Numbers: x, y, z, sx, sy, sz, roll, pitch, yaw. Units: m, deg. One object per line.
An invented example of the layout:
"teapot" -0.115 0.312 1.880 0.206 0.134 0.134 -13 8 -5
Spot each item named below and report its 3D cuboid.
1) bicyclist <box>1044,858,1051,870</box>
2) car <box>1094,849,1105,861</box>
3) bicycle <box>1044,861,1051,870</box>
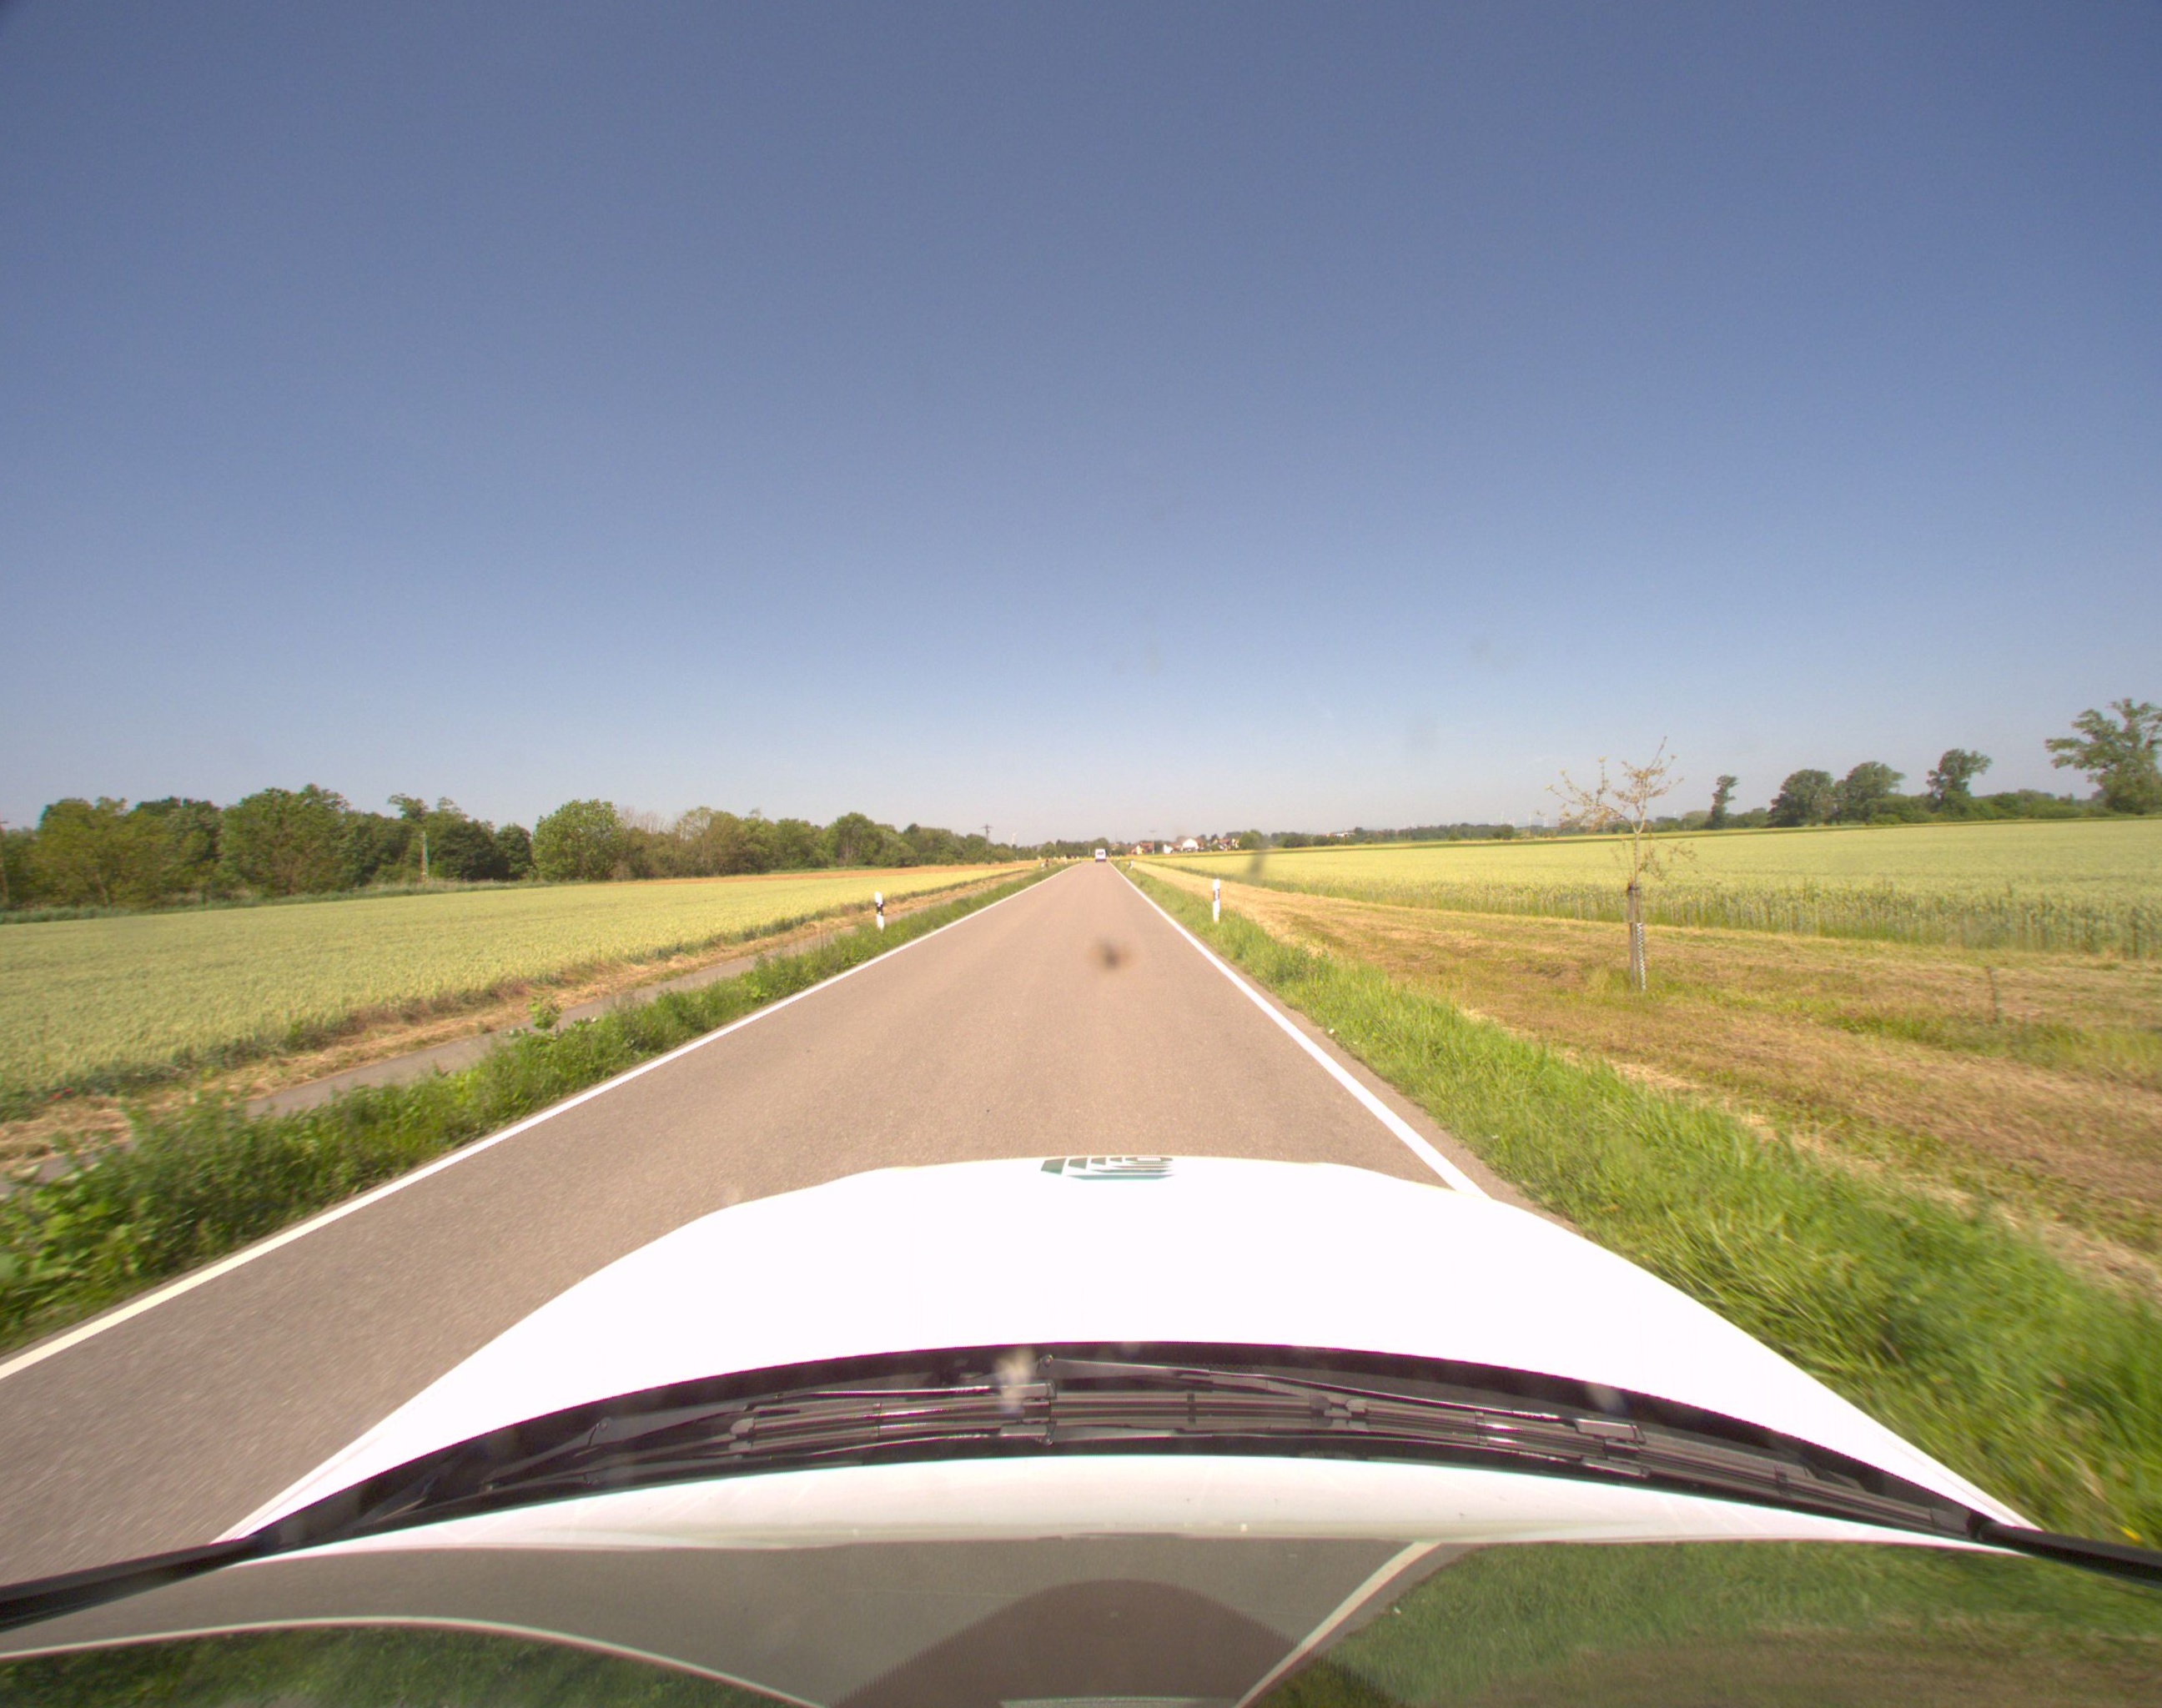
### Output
"bicyclist" -4.751 1.377 114.788 0.757 1.672 1.089 -4 0 1
"car" 3.655 0.201 158.313 2.100 2.304 5.496 -1 0 1
"bicycle" -4.755 1.599 114.645 0.756 1.236 2.394 -4 0 1
